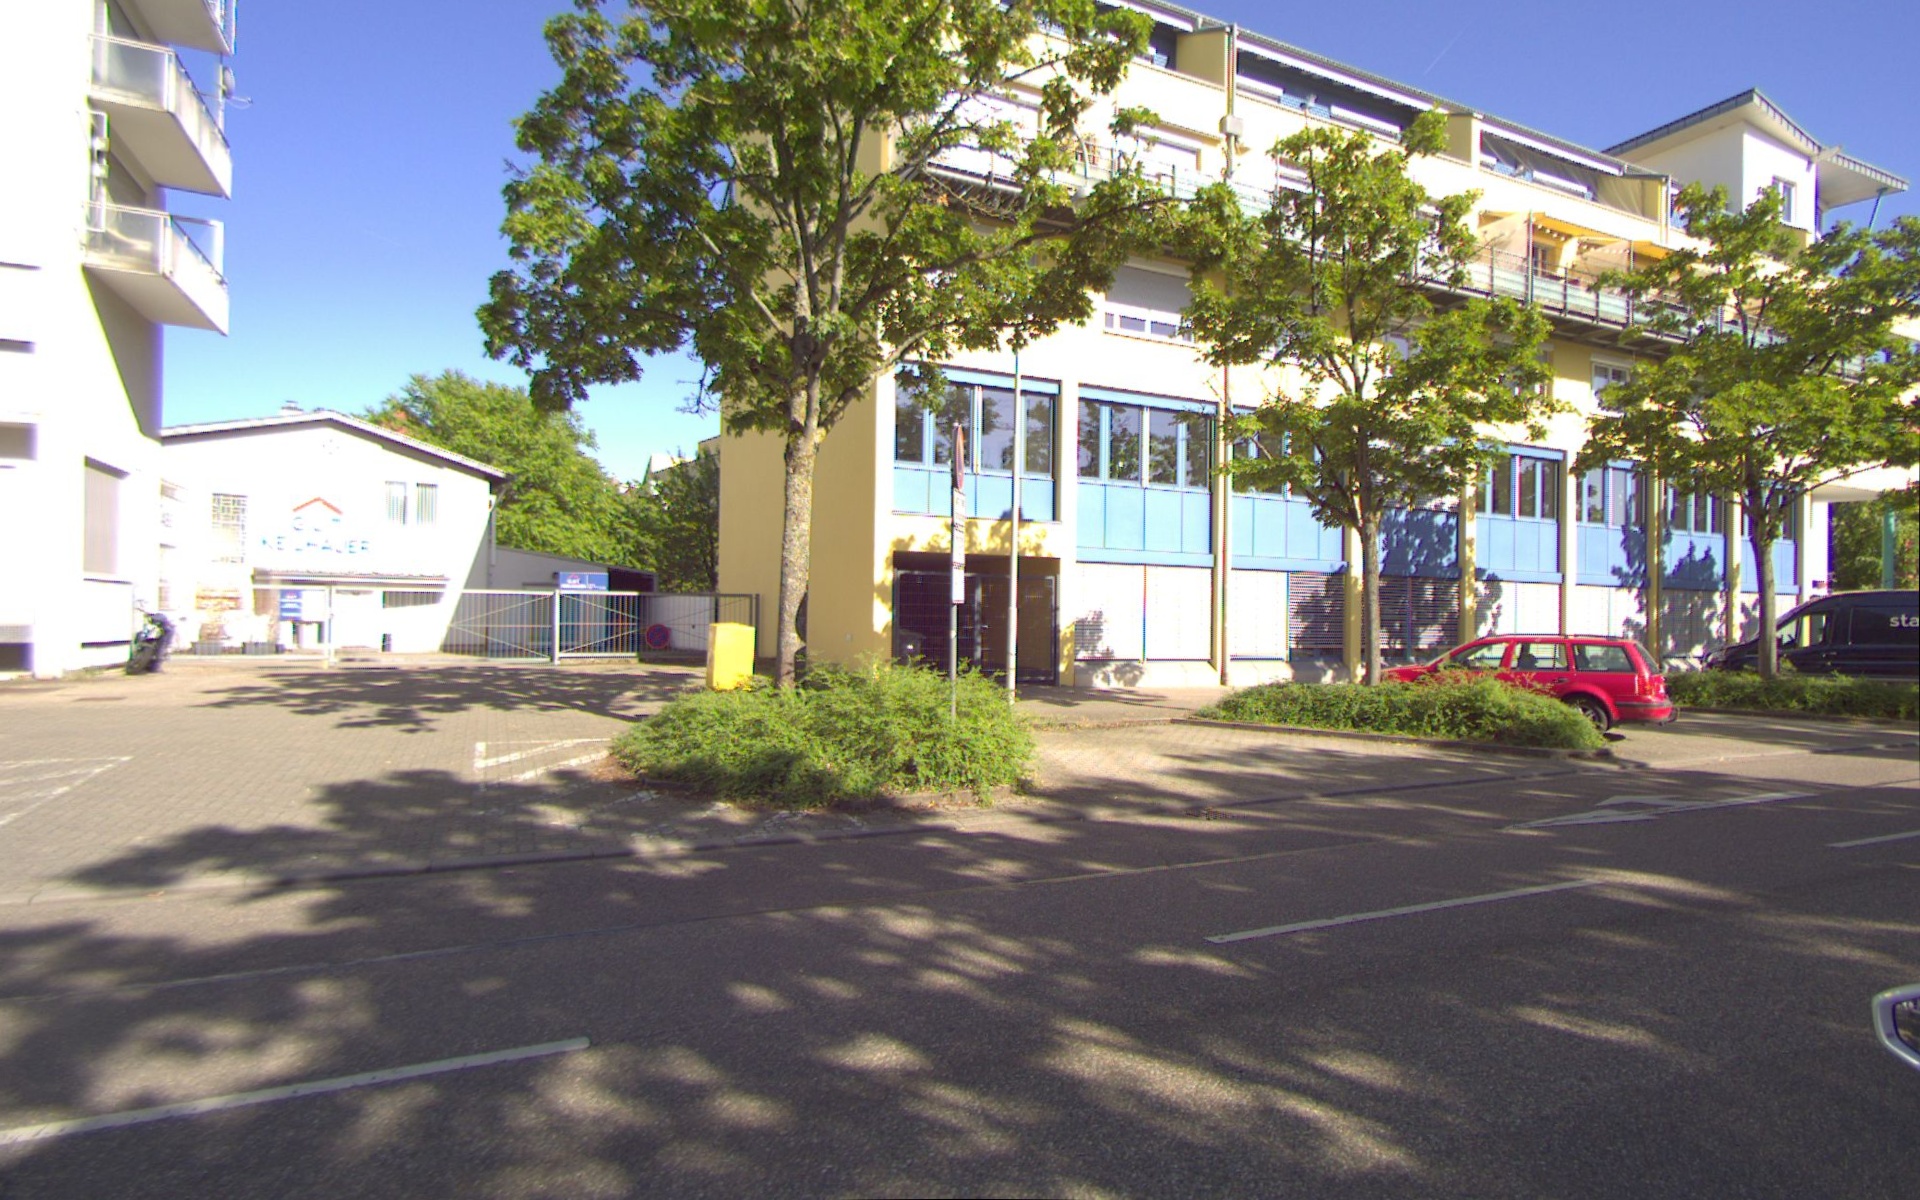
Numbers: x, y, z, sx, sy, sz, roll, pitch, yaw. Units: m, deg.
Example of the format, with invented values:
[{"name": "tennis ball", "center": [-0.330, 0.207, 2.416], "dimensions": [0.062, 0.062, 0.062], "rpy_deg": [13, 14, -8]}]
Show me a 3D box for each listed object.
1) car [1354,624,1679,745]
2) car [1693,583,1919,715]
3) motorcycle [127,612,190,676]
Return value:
[{"name": "car", "center": [8.512, 1.190, 15.538], "dimensions": [4.168, 1.495, 1.763], "rpy_deg": [1, 0, 38]}, {"name": "car", "center": [18.131, 0.928, 20.176], "dimensions": [5.419, 2.469, 2.177], "rpy_deg": [1, 0, 38]}, {"name": "motorcycle", "center": [-15.234, 0.821, 19.122], "dimensions": [0.520, 1.149, 1.906], "rpy_deg": [1, -1, -26]}]
